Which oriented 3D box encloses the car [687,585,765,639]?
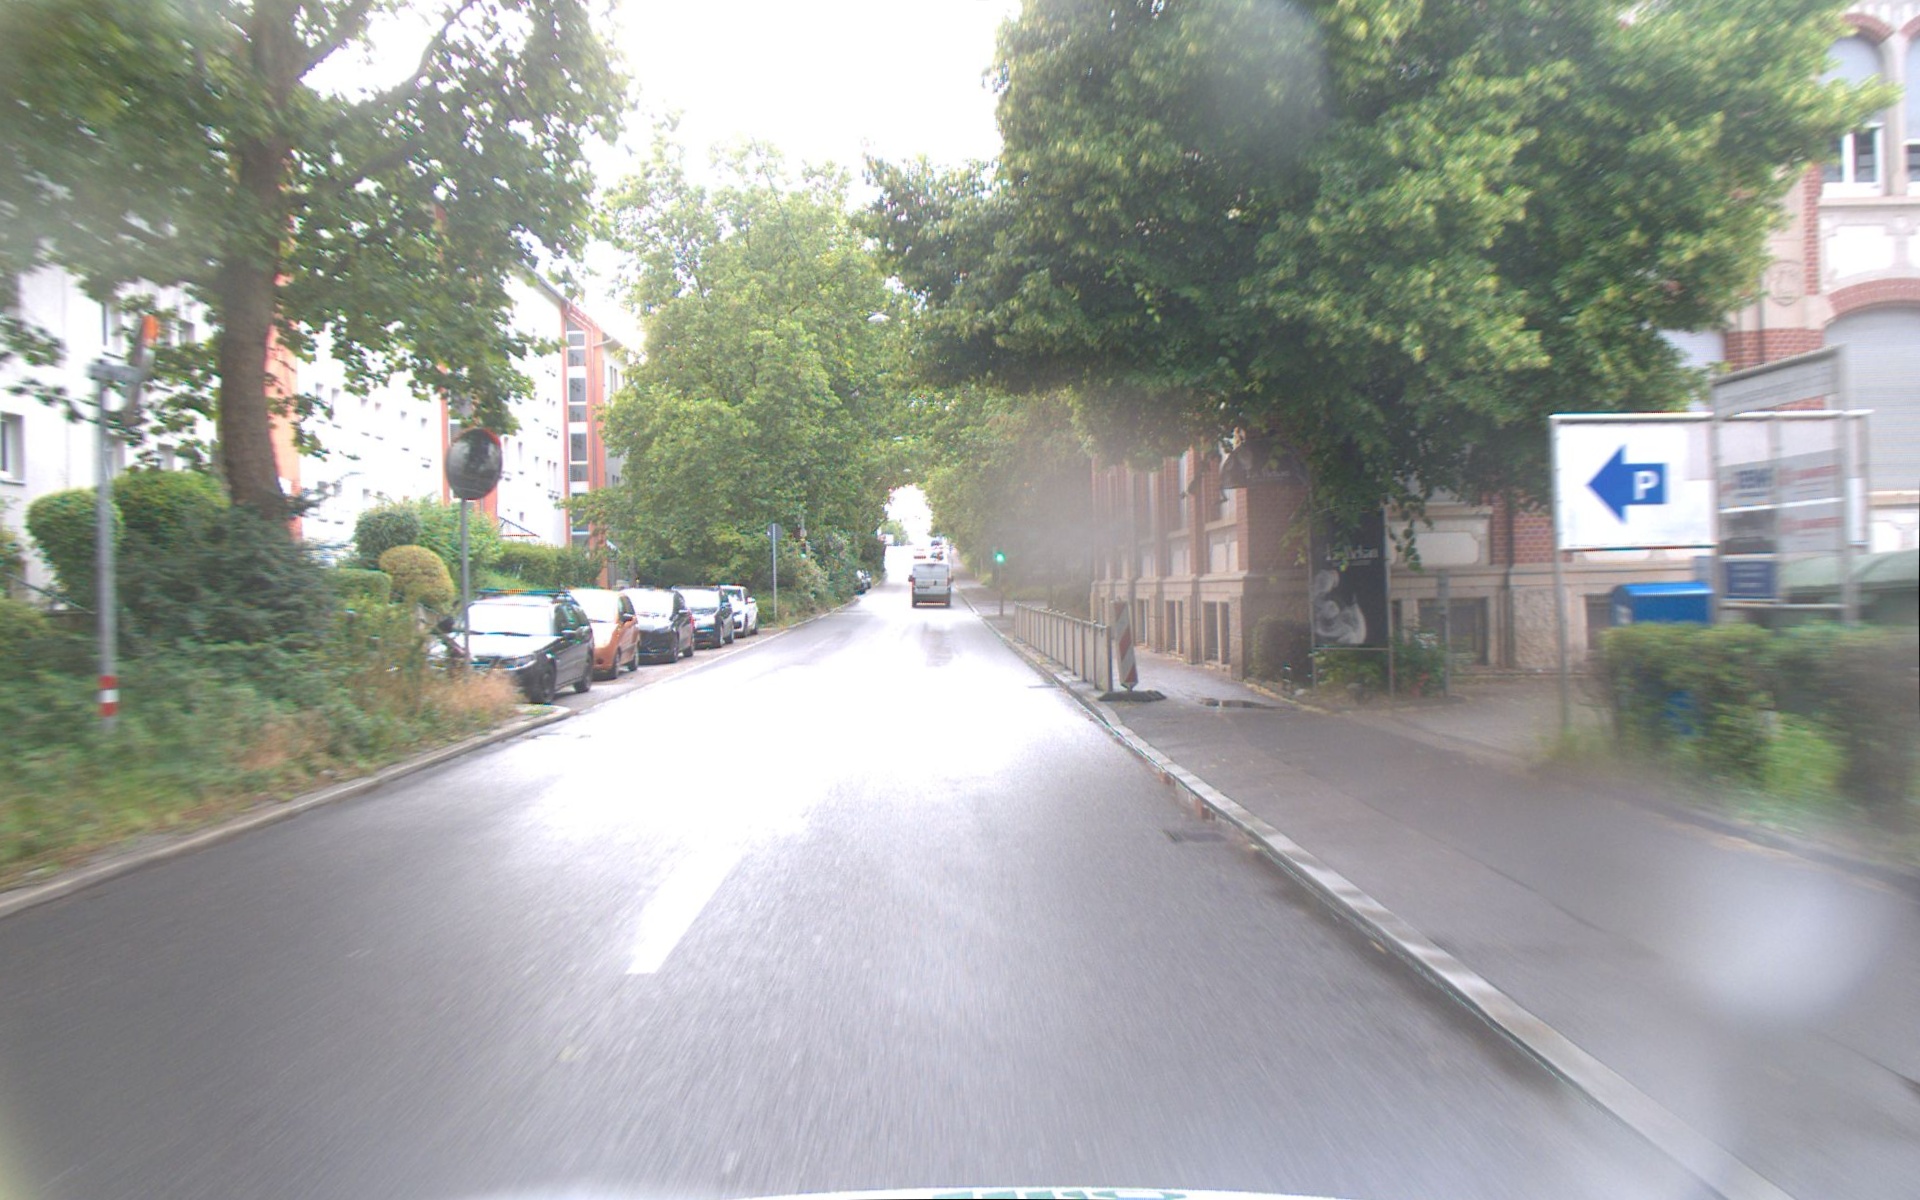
[{"bbox_3d":[-6.758,0.316,48.179,1.682,1.493,4.309,0,1,0],"label":"car"}]

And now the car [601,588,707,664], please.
[{"bbox_3d":[-6.457,0.504,35.209,1.682,1.493,3.754,0,1,-2],"label":"car"}]

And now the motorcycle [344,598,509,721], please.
[{"bbox_3d":[-6.310,0.692,19.607,1.678,1.363,0.722,-2,0,-1],"label":"motorcycle"}]

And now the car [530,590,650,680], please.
[{"bbox_3d":[-6.608,0.586,29.832,1.524,1.493,3.395,0,1,-2],"label":"car"}]

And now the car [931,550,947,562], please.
[{"bbox_3d":[-3.162,-6.612,249.557,2.103,1.739,3.874,1,0,3],"label":"car"}]

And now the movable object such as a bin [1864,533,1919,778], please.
[{"bbox_3d":[6.338,0.335,10.569,0.722,1.534,0.625,-2,0,-5],"label":"movable object such as a bin"}]

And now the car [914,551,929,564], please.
[{"bbox_3d":[-6.025,-6.622,257.730,2.114,1.739,3.874,1,0,3],"label":"car"}]

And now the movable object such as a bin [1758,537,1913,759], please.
[{"bbox_3d":[6.273,0.331,11.875,0.722,1.527,0.625,-2,0,-4],"label":"movable object such as a bin"}]

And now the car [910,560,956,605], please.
[{"bbox_3d":[-1.386,-0.891,85.990,2.288,2.270,3.999,1,0,-1],"label":"car"}]

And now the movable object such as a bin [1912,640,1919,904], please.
[{"bbox_3d":[4.377,0.737,6.845,0.494,1.135,0.618,-1,0,-1],"label":"movable object such as a bin"}]

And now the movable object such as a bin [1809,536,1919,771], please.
[{"bbox_3d":[6.305,0.342,11.217,0.722,1.534,0.625,-2,0,-4],"label":"movable object such as a bin"}]

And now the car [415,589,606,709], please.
[{"bbox_3d":[-6.415,0.631,24.118,1.682,1.535,4.802,0,1,-3],"label":"car"}]

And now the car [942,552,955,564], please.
[{"bbox_3d":[-1.772,-6.561,257.663,1.890,1.739,3.874,1,0,3],"label":"car"}]

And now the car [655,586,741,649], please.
[{"bbox_3d":[-6.524,0.394,41.516,1.682,1.493,4.231,0,1,-3],"label":"car"}]
